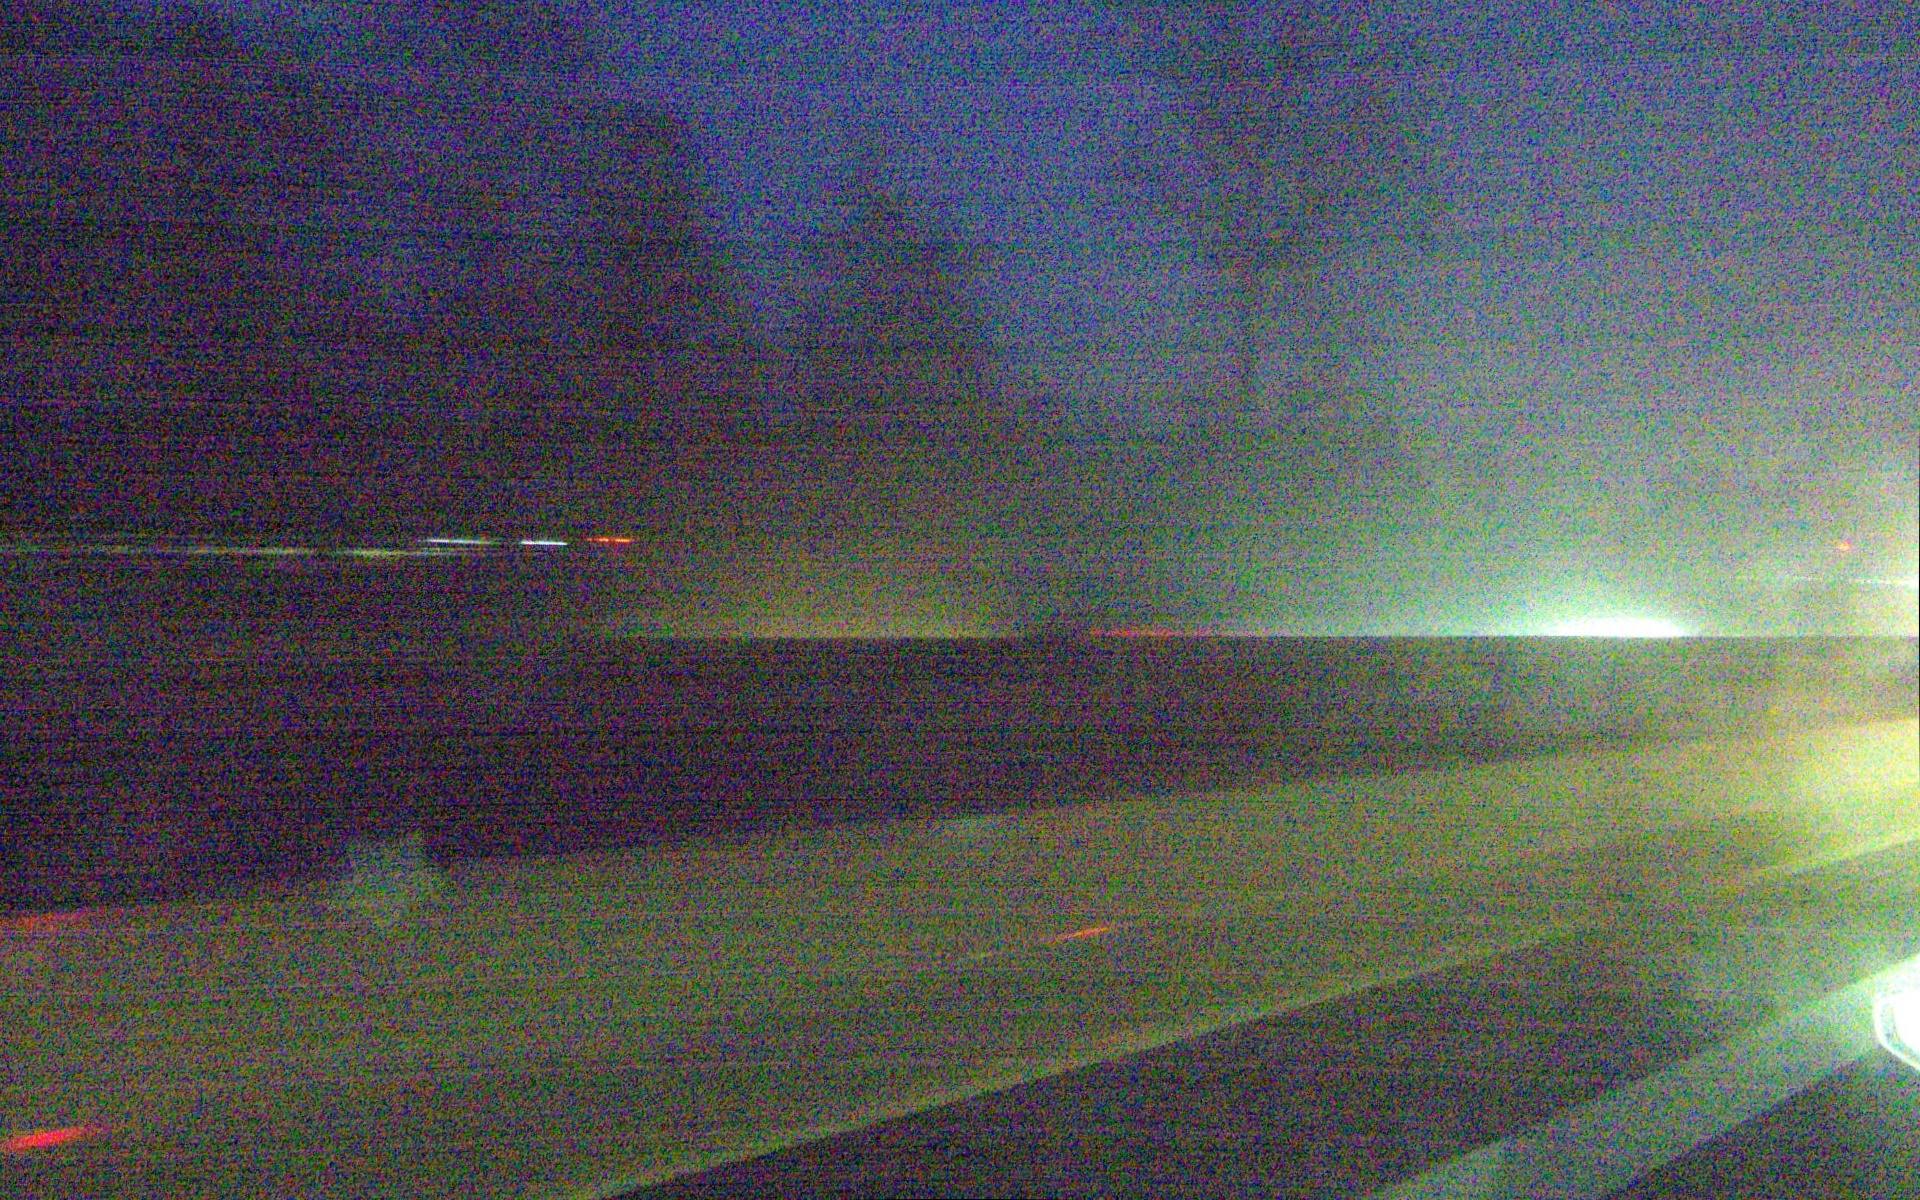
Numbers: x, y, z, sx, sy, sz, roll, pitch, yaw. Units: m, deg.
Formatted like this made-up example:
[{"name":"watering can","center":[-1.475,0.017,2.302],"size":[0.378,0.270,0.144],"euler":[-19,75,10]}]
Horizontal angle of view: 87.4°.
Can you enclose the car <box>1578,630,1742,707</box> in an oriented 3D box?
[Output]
[{"name":"car","center":[18.694,1.758,26.810],"size":[3.951,1.758,1.985],"euler":[1,3,-29]}]

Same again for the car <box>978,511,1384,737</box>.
[{"name":"car","center":[2.422,0.198,10.911],"size":[3.953,2.041,1.983],"euler":[1,3,-30]}]
